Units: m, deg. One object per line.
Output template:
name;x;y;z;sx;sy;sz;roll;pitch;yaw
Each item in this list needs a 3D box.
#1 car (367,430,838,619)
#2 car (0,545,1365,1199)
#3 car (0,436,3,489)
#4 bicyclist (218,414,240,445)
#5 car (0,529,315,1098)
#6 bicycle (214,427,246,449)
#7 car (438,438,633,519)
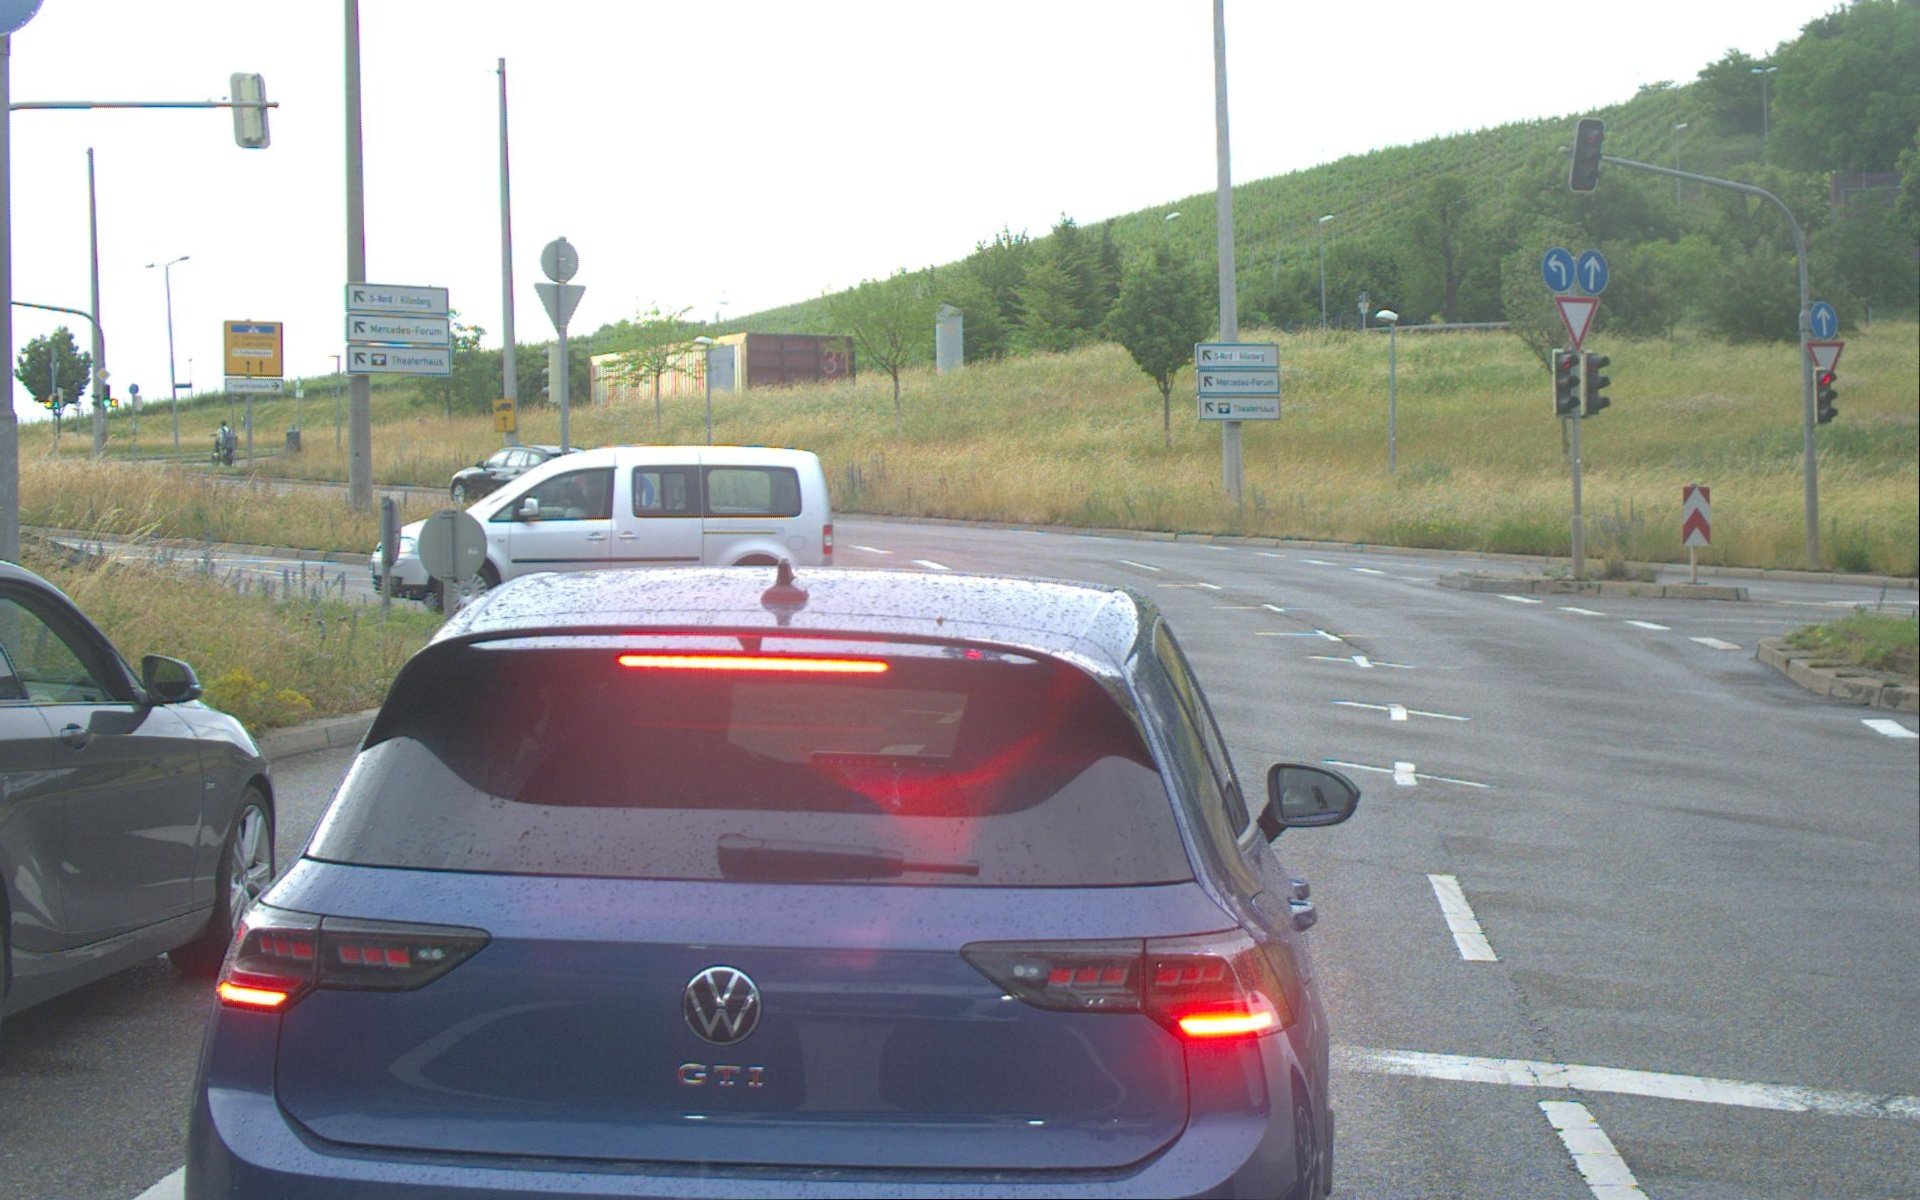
car;-3.750;-0.781;35.754;4.681;1.843;1.822;1;2;-12
car;-0.229;0.631;6.447;1.825;1.455;3.808;0;1;5
car;-31.610;-4.277;107.084;1.994;1.631;4.420;1;0;-37
bicyclist;-25.651;-5.980;120.674;0.523;1.043;0.580;3;1;-33
car;-3.240;0.533;9.781;1.703;1.454;4.114;0;1;5
bicycle;-25.609;-5.680;120.575;0.518;0.772;1.621;1;1;-33
car;-9.060;-2.590;73.058;1.994;1.612;4.851;0;2;-36
